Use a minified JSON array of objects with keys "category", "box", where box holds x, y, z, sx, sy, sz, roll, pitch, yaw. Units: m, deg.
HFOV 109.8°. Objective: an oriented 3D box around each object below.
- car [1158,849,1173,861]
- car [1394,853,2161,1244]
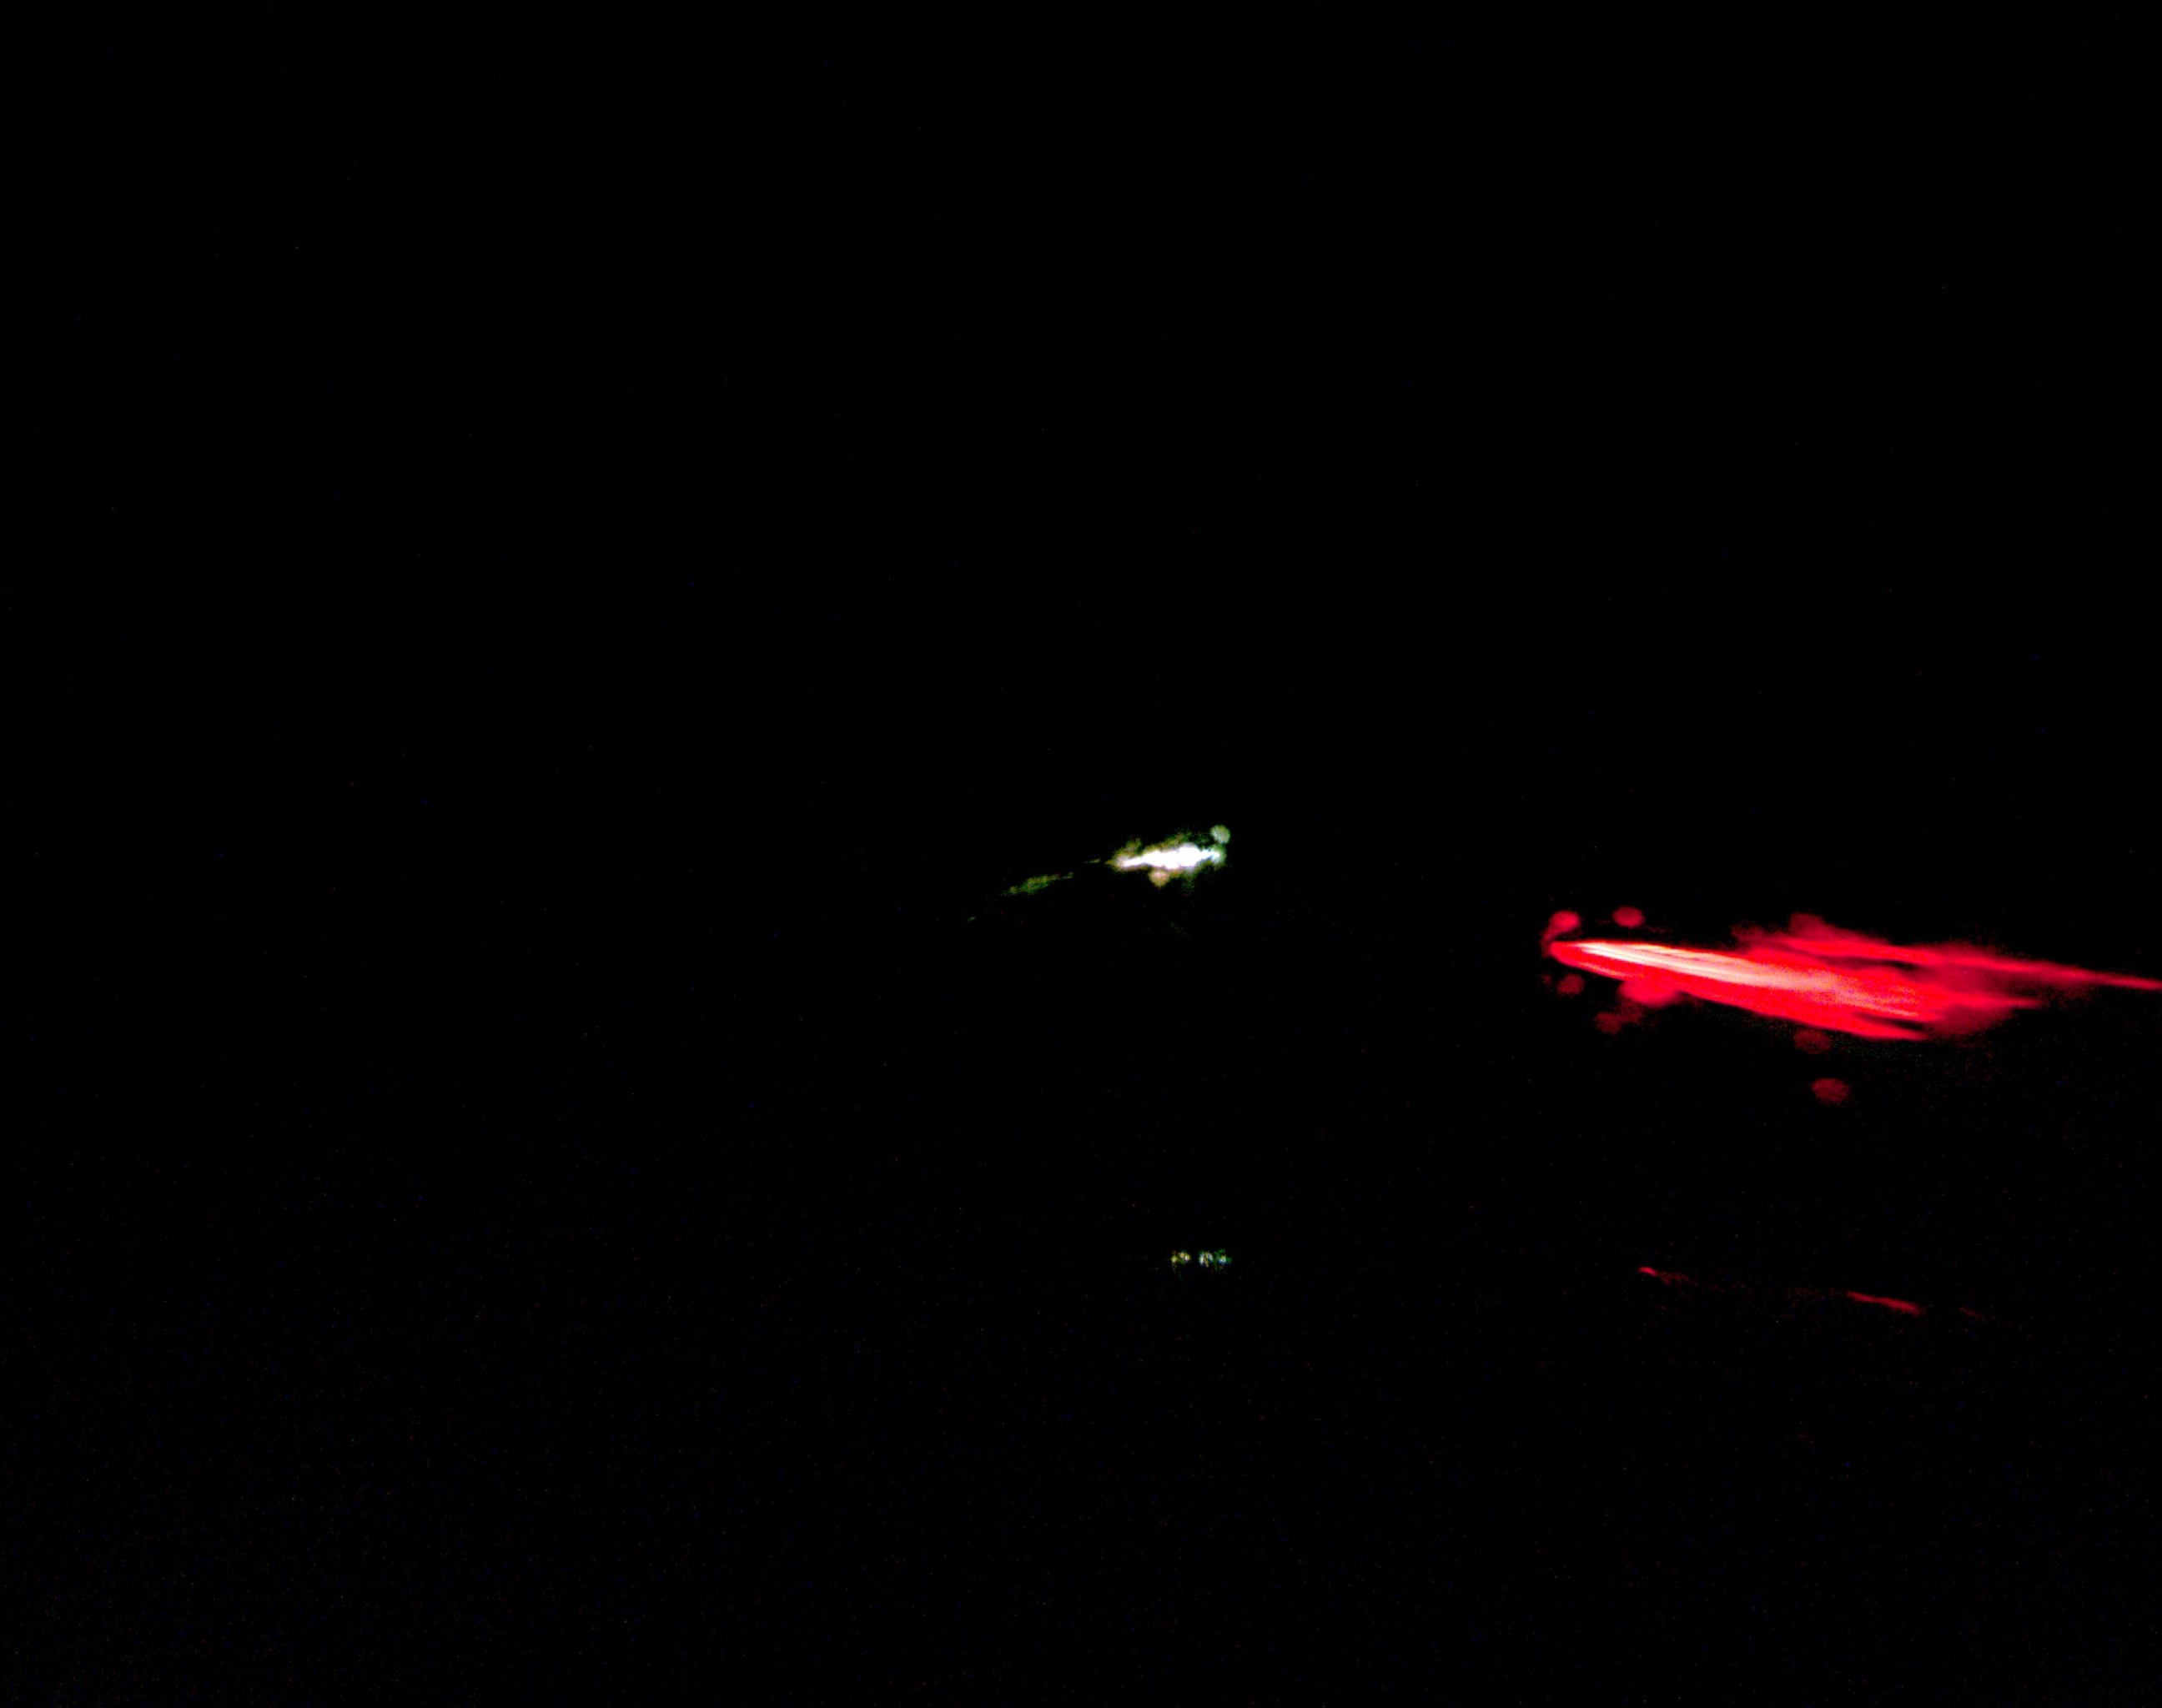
[{"category":"car","box":[11.734,0.135,105.292,1.745,1.623,3.738,-1,0,9]},{"category":"car","box":[3.625,0.784,4.889,1.706,1.497,3.683,-2,0,1]}]
